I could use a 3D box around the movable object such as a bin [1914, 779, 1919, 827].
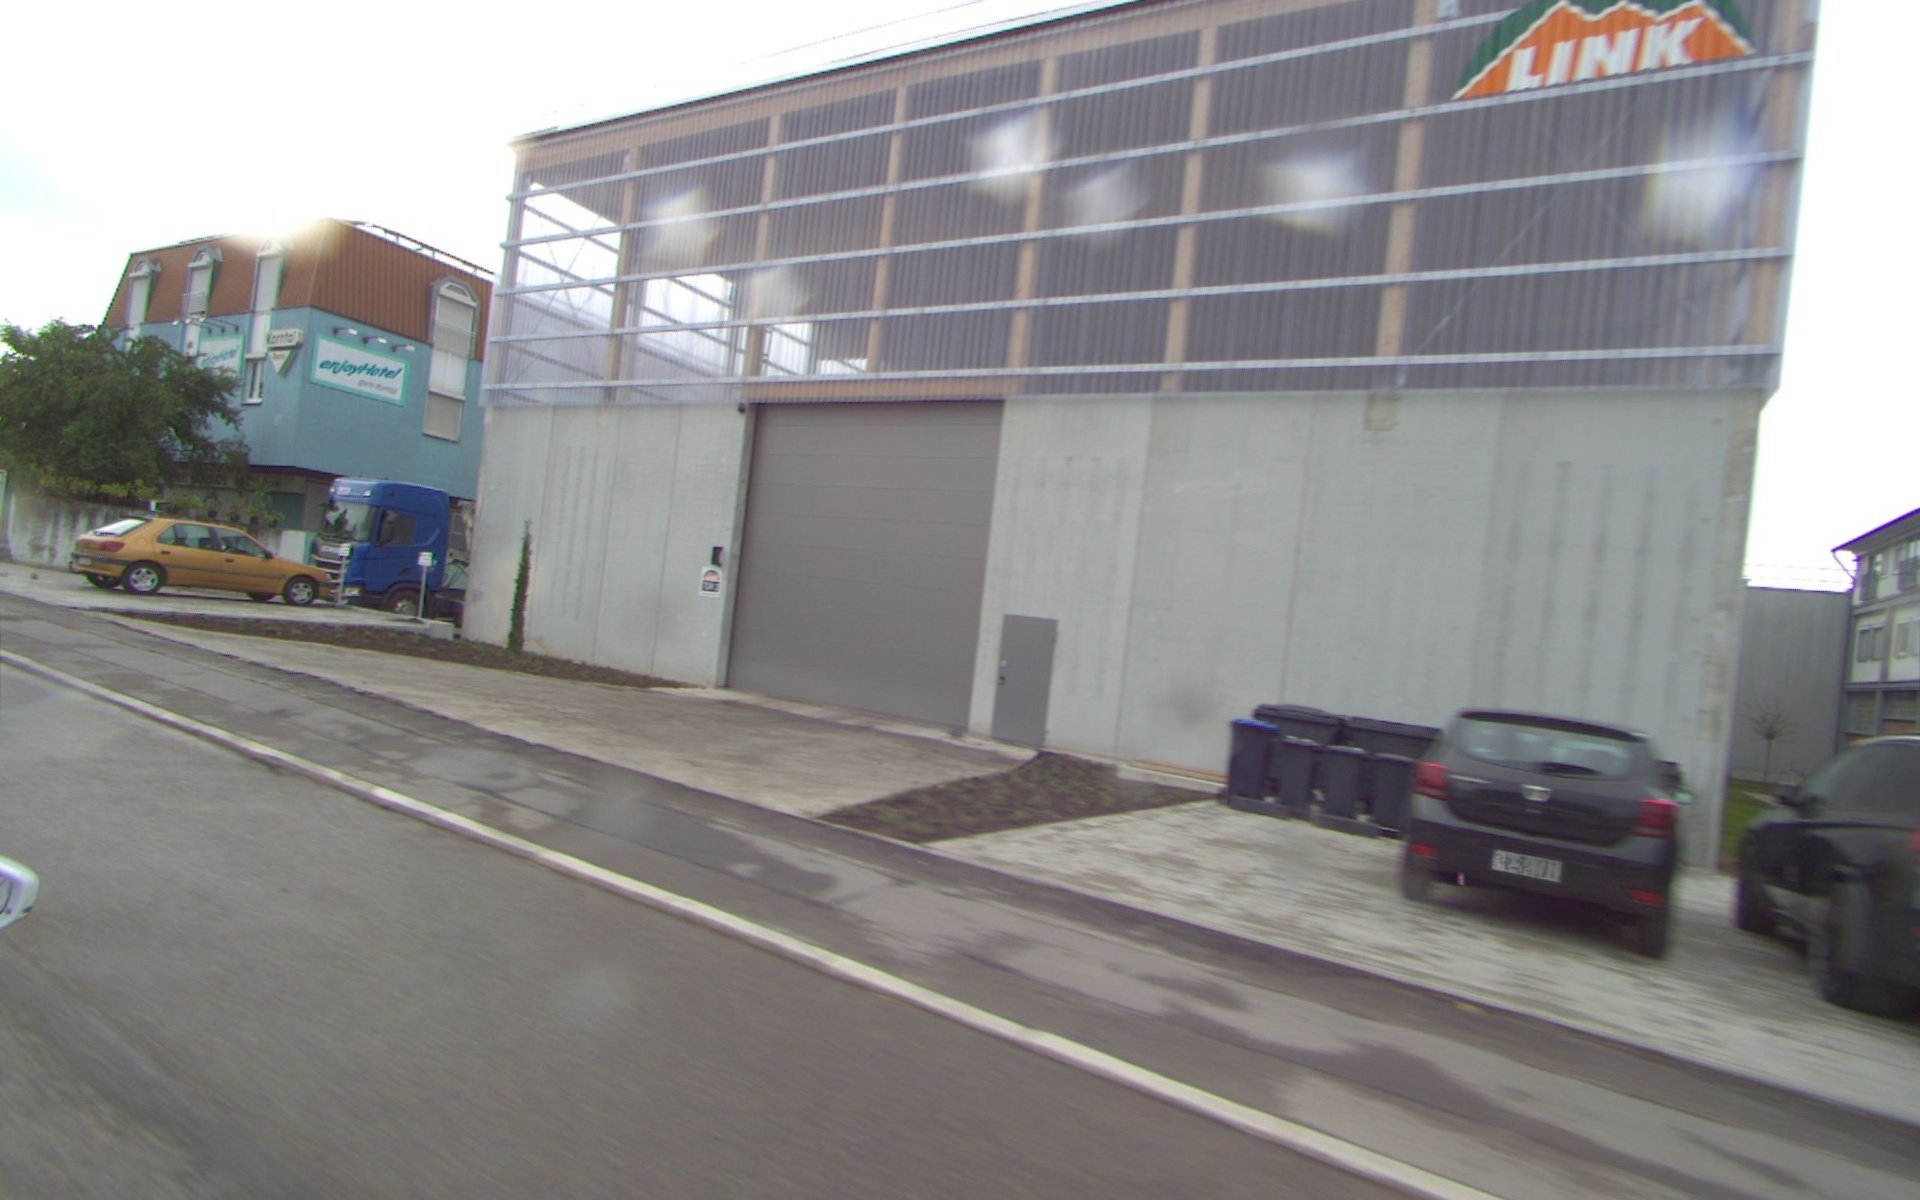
[{"bbox_3d":[28.563,6.003,29.483,0.711,1.397,0.408,6,-2,34],"label":"movable object such as a bin"}]

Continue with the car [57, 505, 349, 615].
[{"bbox_3d":[-14.084,-0.679,18.984,1.603,1.447,3.997,7,-2,29],"label":"car"}]

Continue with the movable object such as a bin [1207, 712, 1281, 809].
[{"bbox_3d":[3.514,1.964,12.419,0.633,1.067,0.575,6,-2,32],"label":"movable object such as a bin"}]

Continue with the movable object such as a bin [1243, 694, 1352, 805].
[{"bbox_3d":[4.850,2.127,14.458,1.193,1.355,0.839,6,-2,32],"label":"movable object such as a bin"}]

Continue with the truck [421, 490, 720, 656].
[{"bbox_3d":[-11.590,-0.599,31.144,2.675,3.747,8.562,6,-3,29],"label":"truck"}]

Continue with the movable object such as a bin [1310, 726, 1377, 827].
[{"bbox_3d":[4.510,2.060,11.820,0.543,1.067,0.496,6,-2,32],"label":"movable object such as a bin"}]

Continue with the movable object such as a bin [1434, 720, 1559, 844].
[{"bbox_3d":[7.013,2.339,13.145,1.264,1.355,0.839,6,-2,32],"label":"movable object such as a bin"}]

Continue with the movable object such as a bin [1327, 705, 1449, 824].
[{"bbox_3d":[5.866,2.221,13.779,1.300,1.355,0.839,6,-2,32],"label":"movable object such as a bin"}]

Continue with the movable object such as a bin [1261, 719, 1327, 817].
[{"bbox_3d":[4.031,2.009,12.128,0.535,1.067,0.514,6,-2,32],"label":"movable object such as a bin"}]

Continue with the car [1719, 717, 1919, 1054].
[{"bbox_3d":[6.670,1.773,6.591,1.947,1.693,4.239,6,-3,29],"label":"car"}]

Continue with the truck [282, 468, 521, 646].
[{"bbox_3d":[-14.324,-1.017,26.073,2.673,3.711,4.161,7,-4,28],"label":"truck"}]

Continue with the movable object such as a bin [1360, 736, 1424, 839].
[{"bbox_3d":[4.956,2.125,11.531,0.497,1.067,0.518,6,-2,32],"label":"movable object such as a bin"}]

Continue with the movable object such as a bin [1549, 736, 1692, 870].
[{"bbox_3d":[8.132,2.459,12.449,1.309,1.355,0.839,6,-2,32],"label":"movable object such as a bin"}]

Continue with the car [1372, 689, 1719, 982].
[{"bbox_3d":[4.744,1.669,8.219,1.803,1.506,3.975,7,-2,32],"label":"car"}]
